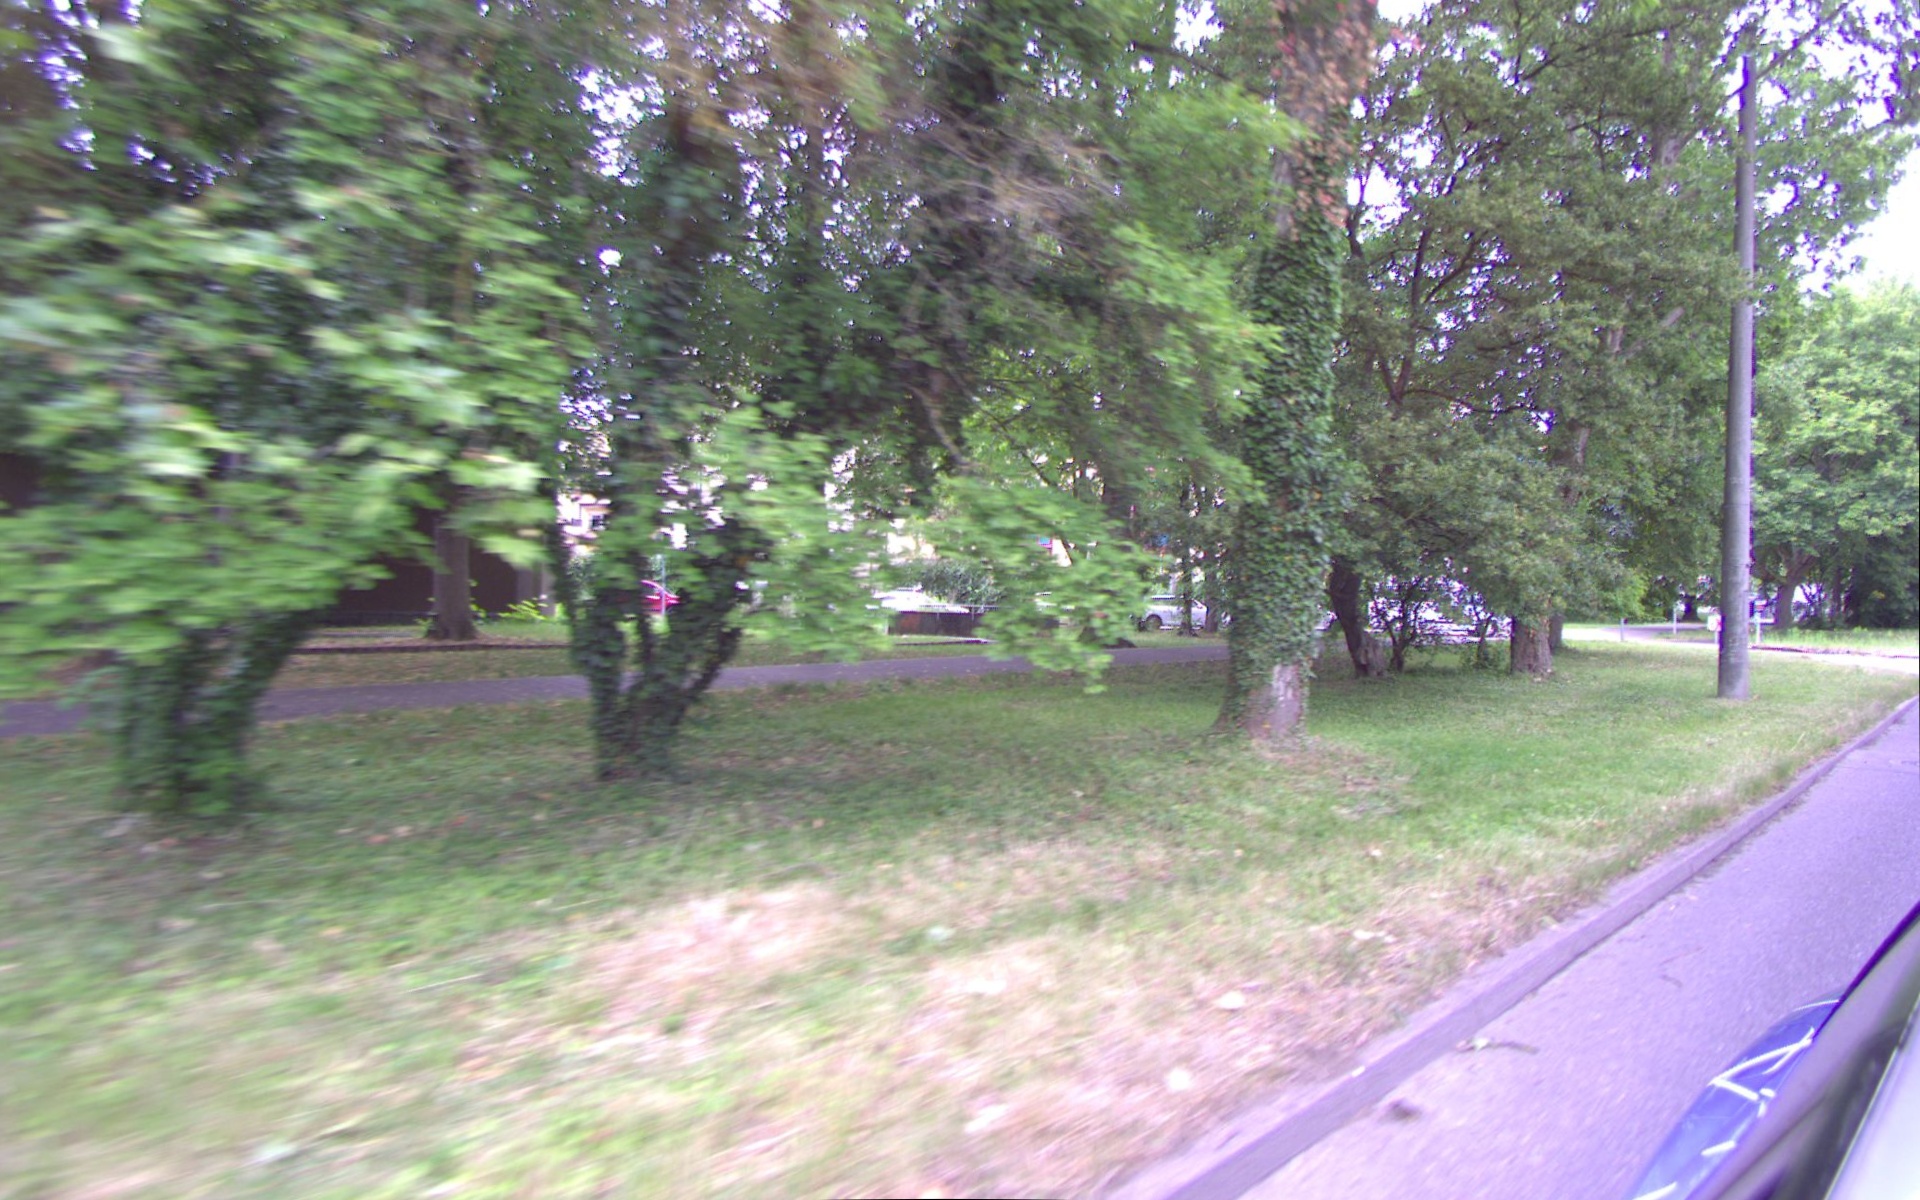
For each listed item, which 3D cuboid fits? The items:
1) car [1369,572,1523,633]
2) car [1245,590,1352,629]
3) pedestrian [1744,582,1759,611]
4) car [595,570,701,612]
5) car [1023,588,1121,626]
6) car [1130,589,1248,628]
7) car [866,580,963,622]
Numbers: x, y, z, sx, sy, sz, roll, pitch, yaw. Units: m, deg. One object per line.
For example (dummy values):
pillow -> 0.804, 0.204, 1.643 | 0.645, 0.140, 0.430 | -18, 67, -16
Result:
car -> 19.478, 0.066, 40.837 | 5.251, 2.328, 2.281 | 1, 0, 16
car -> 13.954, 0.397, 41.905 | 3.934, 1.529, 1.795 | 1, 0, 9
pedestrian -> 45.598, -0.208, 58.272 | 0.646, 1.682, 0.641 | 1, 0, 37
car -> -13.183, -0.392, 42.942 | 3.925, 1.696, 1.799 | 1, 0, 2
car -> 4.665, 0.291, 42.700 | 3.925, 1.529, 1.799 | 1, 0, 1
car -> 9.500, 0.345, 42.277 | 4.520, 1.529, 1.798 | 1, 0, 4
car -> -1.877, 0.044, 42.487 | 3.925, 1.696, 1.799 | 1, 0, 2
